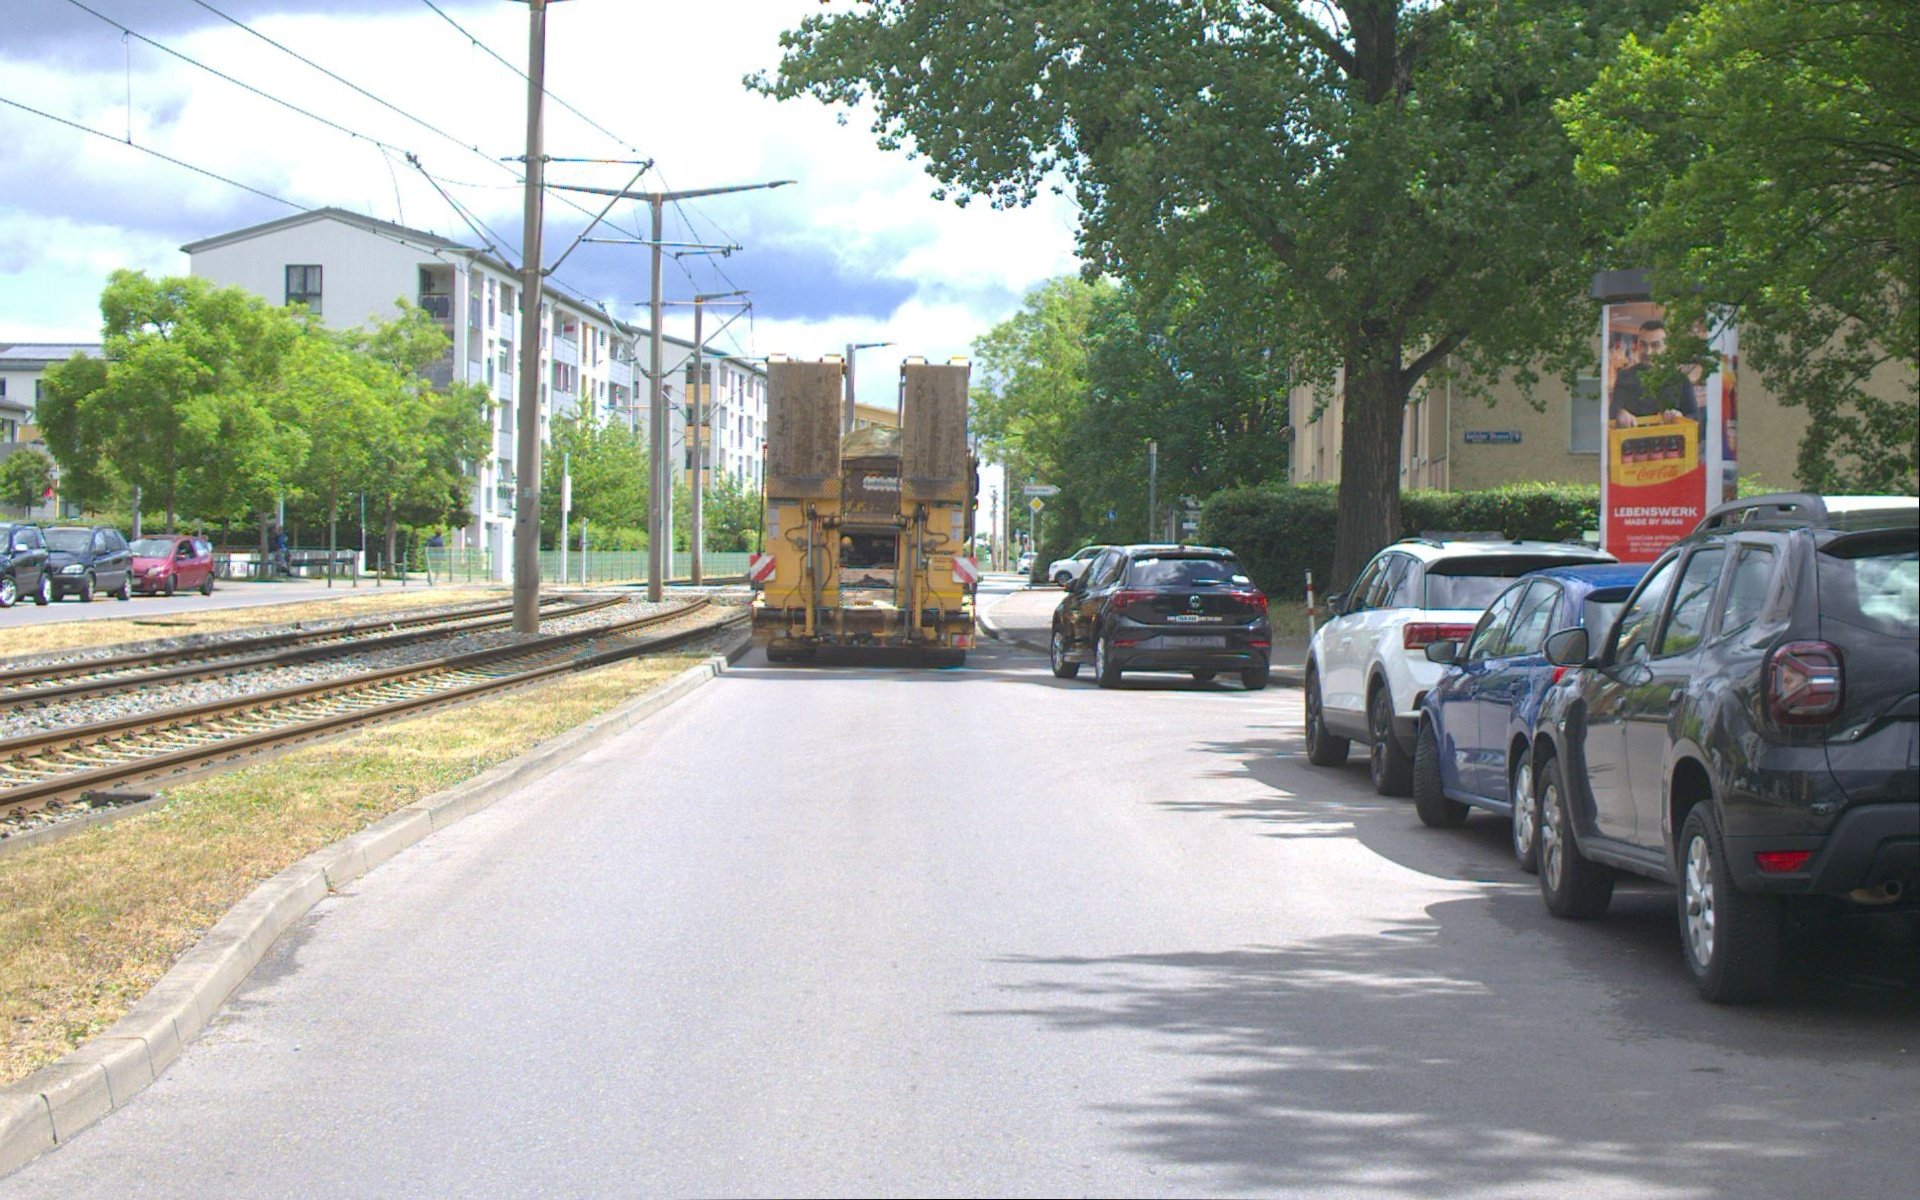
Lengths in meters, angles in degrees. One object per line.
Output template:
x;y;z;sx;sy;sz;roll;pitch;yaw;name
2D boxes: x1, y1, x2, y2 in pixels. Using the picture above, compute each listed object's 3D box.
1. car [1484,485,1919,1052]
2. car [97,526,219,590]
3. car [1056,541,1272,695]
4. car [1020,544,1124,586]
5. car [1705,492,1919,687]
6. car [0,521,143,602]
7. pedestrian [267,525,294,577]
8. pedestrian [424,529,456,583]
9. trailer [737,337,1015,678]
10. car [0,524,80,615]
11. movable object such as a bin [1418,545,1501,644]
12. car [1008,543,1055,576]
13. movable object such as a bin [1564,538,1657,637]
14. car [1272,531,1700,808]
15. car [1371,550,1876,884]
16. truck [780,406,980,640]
3.197;0.459;12.952;1.643;1.756;4.570;-1;1;-1;car
-18.630;-0.988;79.997;1.614;1.421;3.422;0;1;8;car
2.025;0.142;35.129;1.815;1.444;3.827;-1;1;-2;car
4.260;-1.317;130.459;3.600;1.579;1.999;0;0;14;car
9.518;-0.152;33.722;3.986;1.816;1.811;-1;2;-22;car
-18.961;-0.844;72.977;1.994;1.642;4.099;0;1;4;car
-20.645;-1.504;104.411;0.623;1.567;0.557;0;1;13;pedestrian
-15.929;-1.347;105.273;0.749;1.656;0.869;0;1;6;pedestrian
-1.001;-1.180;43.984;3.050;3.759;11.613;-1;1;-1;trailer
-18.752;-0.630;67.369;1.993;1.657;4.100;1;2;-1;car
7.371;-0.087;50.721;1.098;1.434;0.761;-1;1;-1;movable object such as a bin
3.093;-1.759;149.267;1.993;1.382;4.000;0;1;1;car
9.655;-0.192;51.068;1.169;1.434;1.057;-1;1;-1;movable object such as a bin
3.257;0.356;22.202;1.783;1.560;4.571;-1;1;-4;car
3.262;0.502;17.660;1.643;1.453;4.076;-1;1;-2;car
-1.190;-1.203;53.197;2.833;3.319;7.985;-1;1;-1;truck
